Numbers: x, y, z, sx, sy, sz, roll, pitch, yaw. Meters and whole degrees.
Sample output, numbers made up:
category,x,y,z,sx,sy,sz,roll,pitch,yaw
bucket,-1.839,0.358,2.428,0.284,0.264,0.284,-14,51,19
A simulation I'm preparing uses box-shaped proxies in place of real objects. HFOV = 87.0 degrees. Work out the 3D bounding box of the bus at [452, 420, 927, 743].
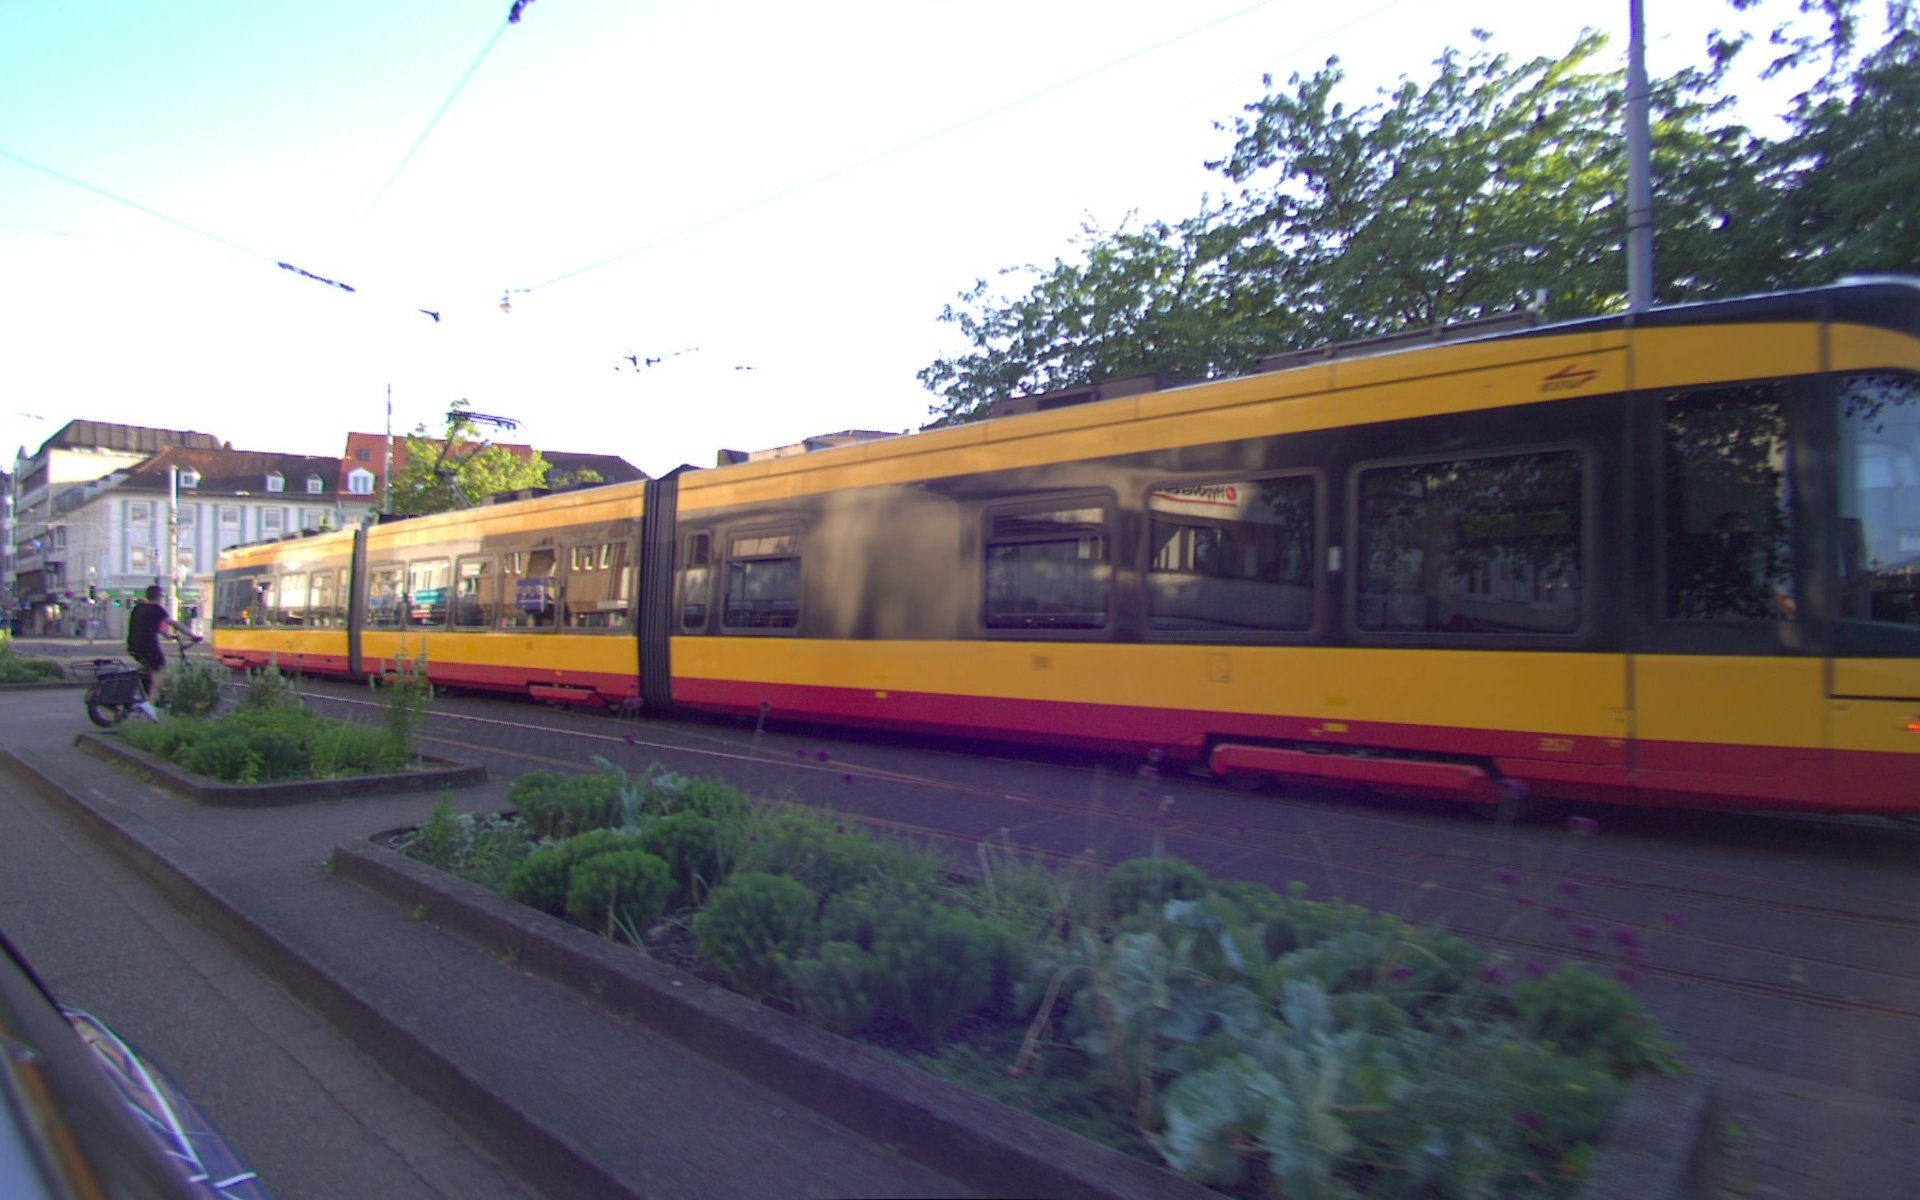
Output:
category,x,y,z,sx,sy,sz,roll,pitch,yaw
bus,-4.460,-0.130,15.235,8.286,3.652,2.792,-1,-2,42

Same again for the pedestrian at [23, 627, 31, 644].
category,x,y,z,sx,sy,sz,roll,pitch,yaw
pedestrian,-96.045,3.624,104.172,0.600,1.747,0.509,1,-1,41

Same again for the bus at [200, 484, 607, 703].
category,x,y,z,sx,sy,sz,roll,pitch,yaw
bus,-13.954,0.082,23.704,17.066,3.679,2.792,-2,-2,42

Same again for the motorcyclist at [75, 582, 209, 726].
category,x,y,z,sx,sy,sz,roll,pitch,yaw
motorcyclist,-10.979,0.700,13.616,0.950,1.827,1.000,1,-1,15

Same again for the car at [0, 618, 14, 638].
category,x,y,z,sx,sy,sz,roll,pitch,yaw
car,-89.216,2.590,93.784,4.127,1.809,1.890,-1,0,41

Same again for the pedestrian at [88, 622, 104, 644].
category,x,y,z,sx,sy,sz,roll,pitch,yaw
pedestrian,-65.908,2.547,77.212,0.814,1.653,0.816,0,-2,-33

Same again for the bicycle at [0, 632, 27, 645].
category,x,y,z,sx,sy,sz,roll,pitch,yaw
bicycle,-79.774,3.248,85.258,1.715,1.067,0.499,1,-4,-41

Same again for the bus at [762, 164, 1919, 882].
category,x,y,z,sx,sy,sz,roll,pitch,yaw
bus,3.102,-0.319,8.554,11.818,3.640,2.792,-1,-2,42

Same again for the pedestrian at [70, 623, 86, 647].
category,x,y,z,sx,sy,sz,roll,pitch,yaw
pedestrian,-67.218,2.668,77.149,0.814,1.741,0.816,0,-1,-33

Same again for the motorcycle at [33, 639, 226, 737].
category,x,y,z,sx,sy,sz,roll,pitch,yaw
motorcycle,-10.990,1.122,13.499,0.563,1.132,2.041,1,-1,14
